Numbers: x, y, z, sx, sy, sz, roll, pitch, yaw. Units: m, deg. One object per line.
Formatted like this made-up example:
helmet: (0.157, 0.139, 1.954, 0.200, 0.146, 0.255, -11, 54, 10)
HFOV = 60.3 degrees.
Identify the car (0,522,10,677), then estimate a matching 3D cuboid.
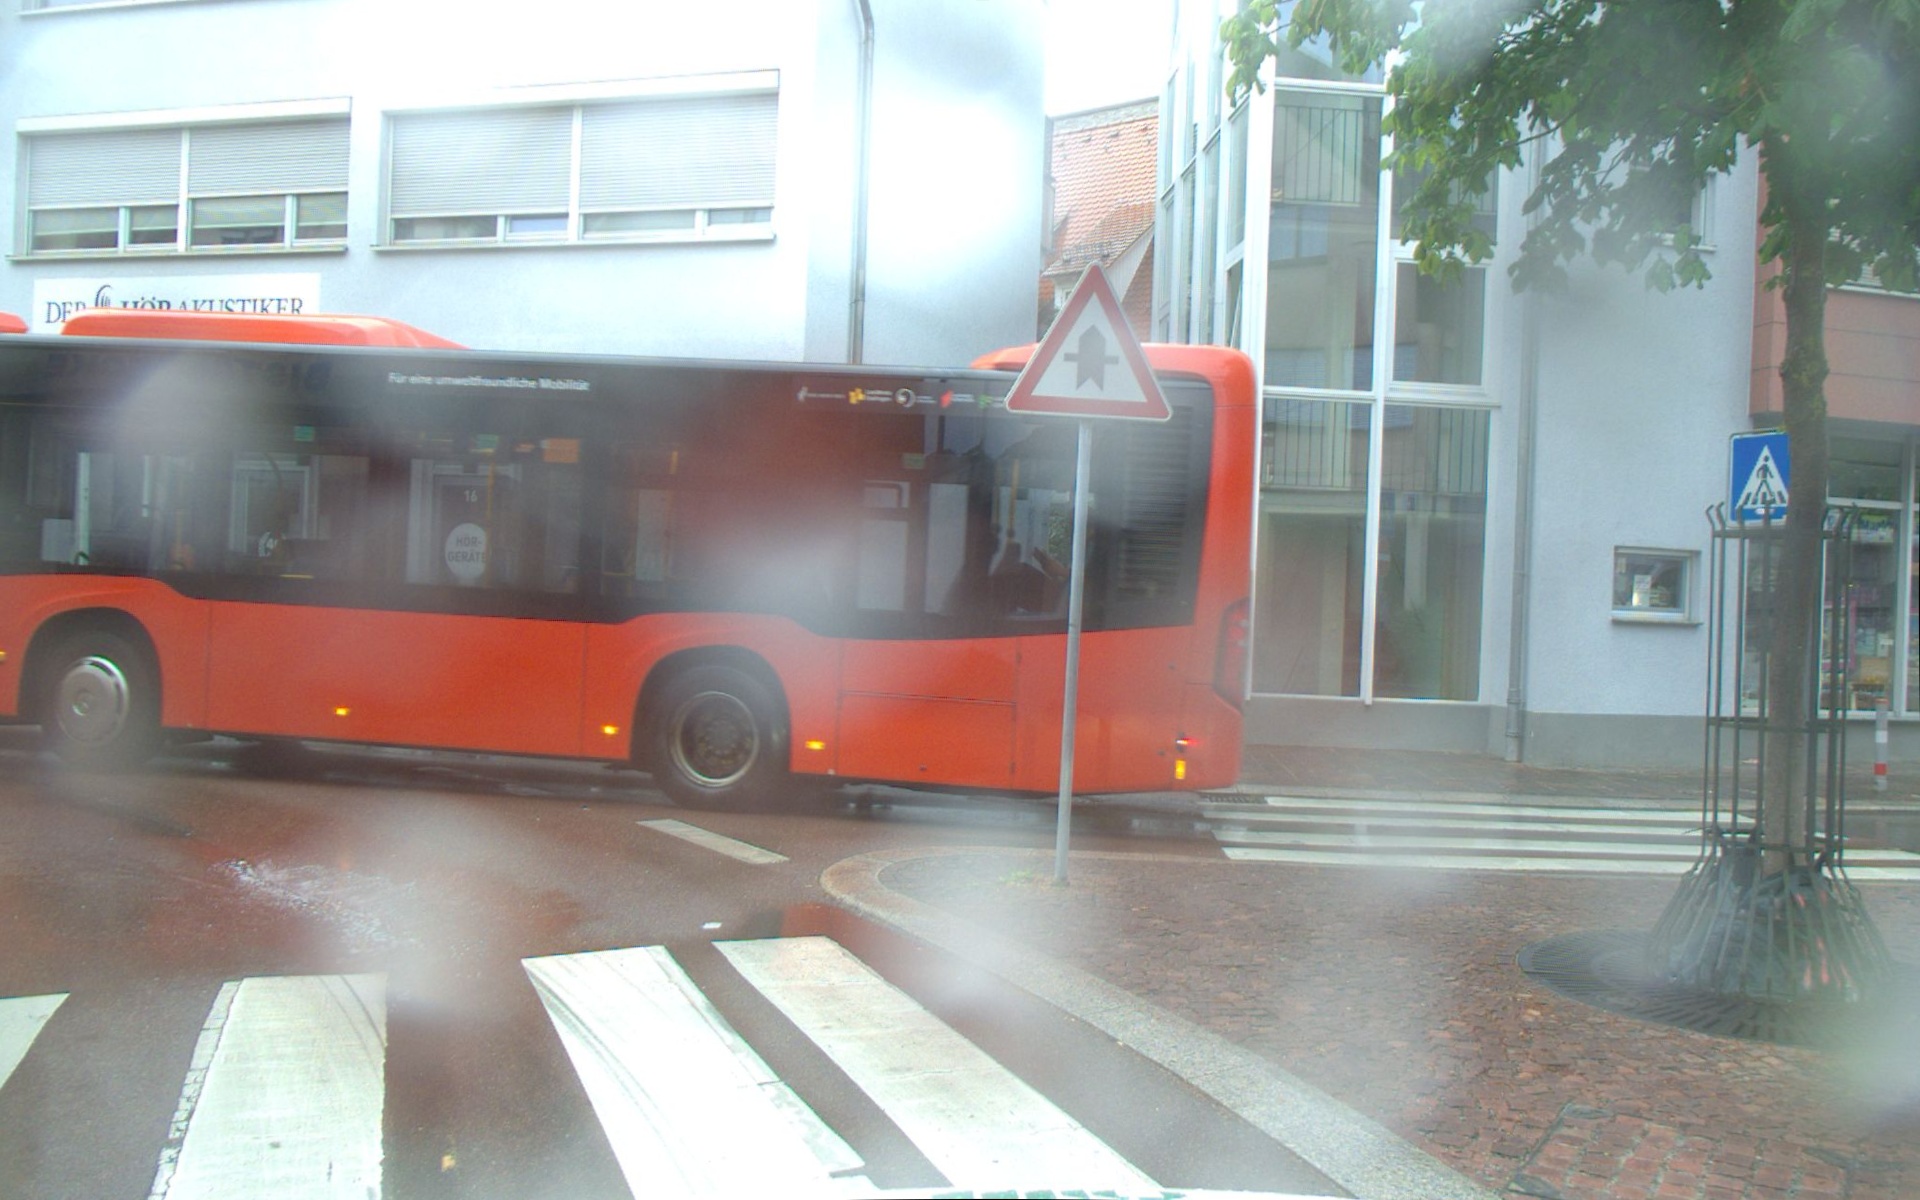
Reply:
car: (-12.324, -0.087, 17.243, 4.123, 1.640, 1.694, 3, 1, 14)

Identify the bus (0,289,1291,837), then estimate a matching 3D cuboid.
bus: (-3.025, -0.360, 11.830, 10.348, 3.142, 2.824, 2, 0, 8)
